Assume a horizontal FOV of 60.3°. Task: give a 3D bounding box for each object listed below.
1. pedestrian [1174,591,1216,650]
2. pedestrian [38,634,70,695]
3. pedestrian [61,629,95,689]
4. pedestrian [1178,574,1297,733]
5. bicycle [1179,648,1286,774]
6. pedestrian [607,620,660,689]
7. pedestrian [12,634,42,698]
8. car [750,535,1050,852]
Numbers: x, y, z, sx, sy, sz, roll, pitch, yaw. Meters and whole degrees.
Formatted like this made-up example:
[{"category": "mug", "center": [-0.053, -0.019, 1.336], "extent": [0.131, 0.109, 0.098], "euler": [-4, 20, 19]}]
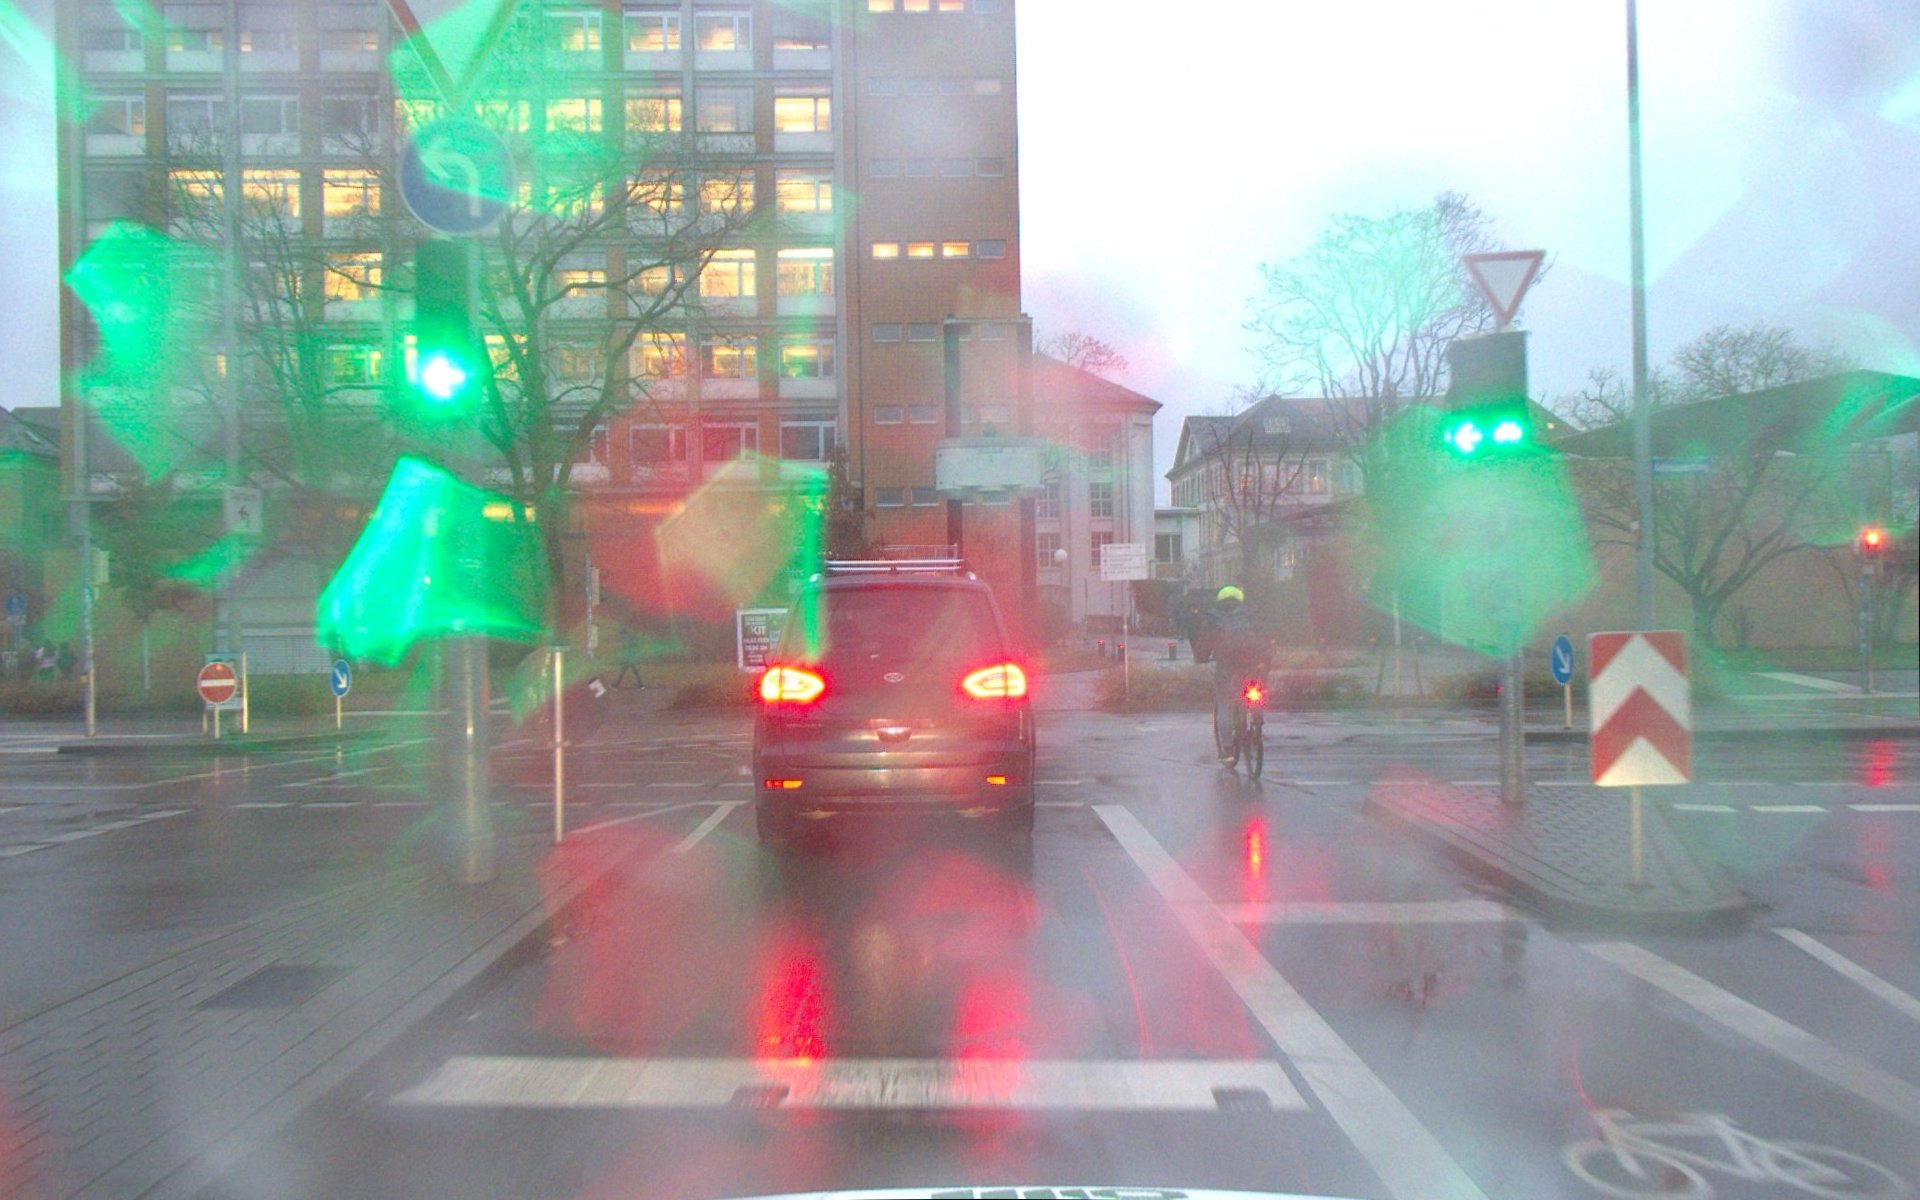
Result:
[{"category": "pedestrian", "center": [6.998, 0.589, 49.270], "extent": [0.896, 1.717, 0.922], "euler": [1, 2, 42]}, {"category": "pedestrian", "center": [-26.309, 1.869, 48.047], "extent": [0.663, 1.717, 0.603], "euler": [-3, 2, -40]}, {"category": "pedestrian", "center": [-25.944, 1.726, 48.652], "extent": [0.713, 1.717, 0.749], "euler": [-1, -1, -40]}, {"category": "pedestrian", "center": [2.453, 0.459, 14.698], "extent": [0.857, 1.340, 0.848], "euler": [-2, 0, -1]}, {"category": "bicycle", "center": [2.393, 0.948, 14.742], "extent": [0.550, 0.963, 2.095], "euler": [-2, 0, -1]}, {"category": "pedestrian", "center": [-8.513, 1.413, 43.162], "extent": [1.044, 1.717, 0.810], "euler": [-2, 1, 19]}, {"category": "pedestrian", "center": [-26.885, 1.897, 47.666], "extent": [0.580, 1.812, 0.758], "euler": [-3, 0, -39]}, {"category": "car", "center": [-0.393, 0.595, 11.922], "extent": [1.742, 1.832, 4.423], "euler": [-1, -1, -1]}]
